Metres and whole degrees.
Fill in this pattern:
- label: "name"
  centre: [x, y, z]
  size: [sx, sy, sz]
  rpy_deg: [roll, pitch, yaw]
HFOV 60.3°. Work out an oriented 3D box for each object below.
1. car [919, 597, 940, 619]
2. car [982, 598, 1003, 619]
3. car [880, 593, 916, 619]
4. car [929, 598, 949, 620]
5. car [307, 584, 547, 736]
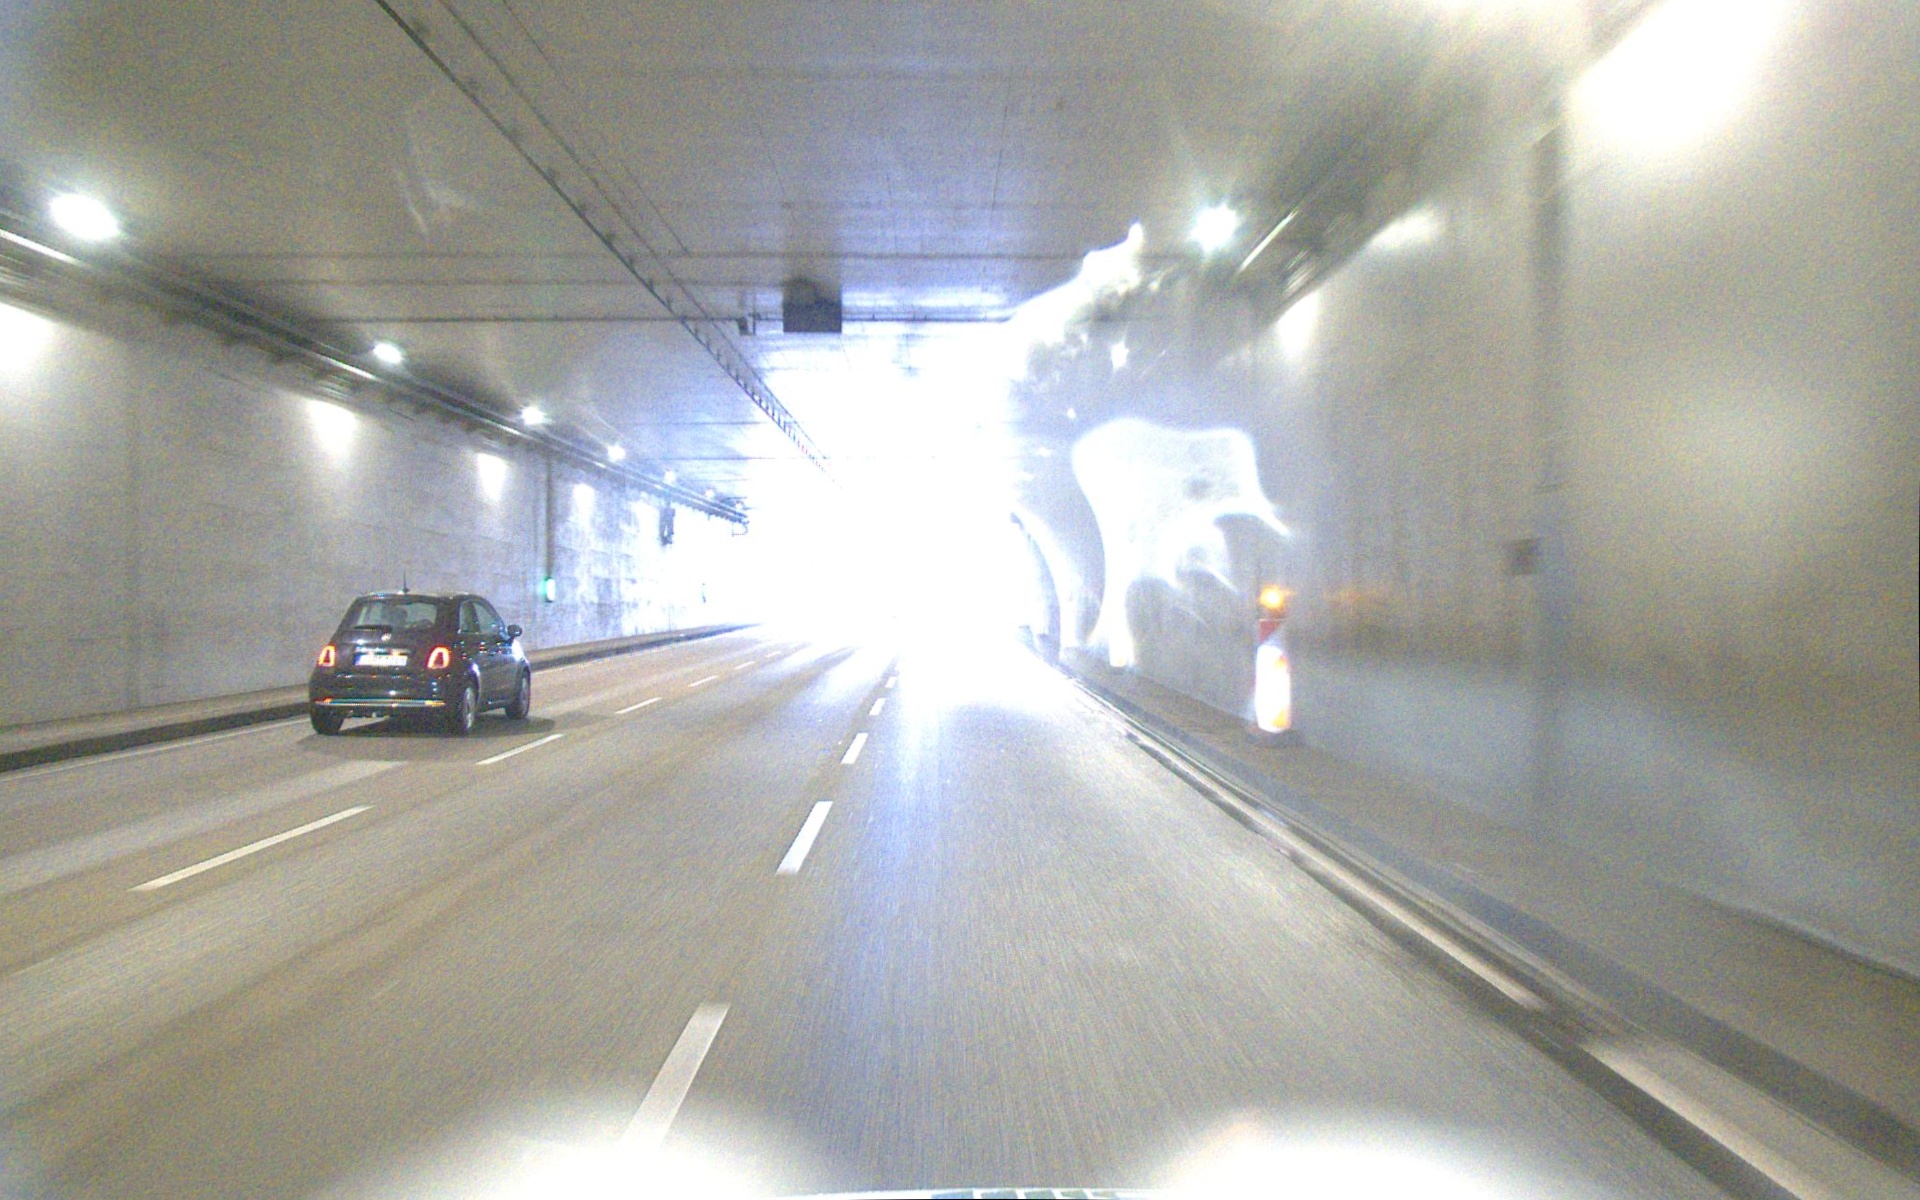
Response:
- label: "car"
  centre: [-2.939, 0.744, 156.968]
  size: [1.953, 2.049, 3.998]
  rpy_deg: [0, -1, -1]
- label: "car"
  centre: [3.208, 0.830, 165.791]
  size: [1.953, 2.049, 3.999]
  rpy_deg: [1, -1, -1]
- label: "car"
  centre: [-3.579, 0.338, 95.157]
  size: [1.954, 1.473, 4.311]
  rpy_deg: [0, 0, -4]
- label: "car"
  centre: [-2.137, 0.909, 165.400]
  size: [1.953, 2.049, 3.998]
  rpy_deg: [0, -1, -1]
- label: "car"
  centre: [-5.794, 0.607, 18.387]
  size: [1.580, 1.480, 3.571]
  rpy_deg: [2, 0, -2]
